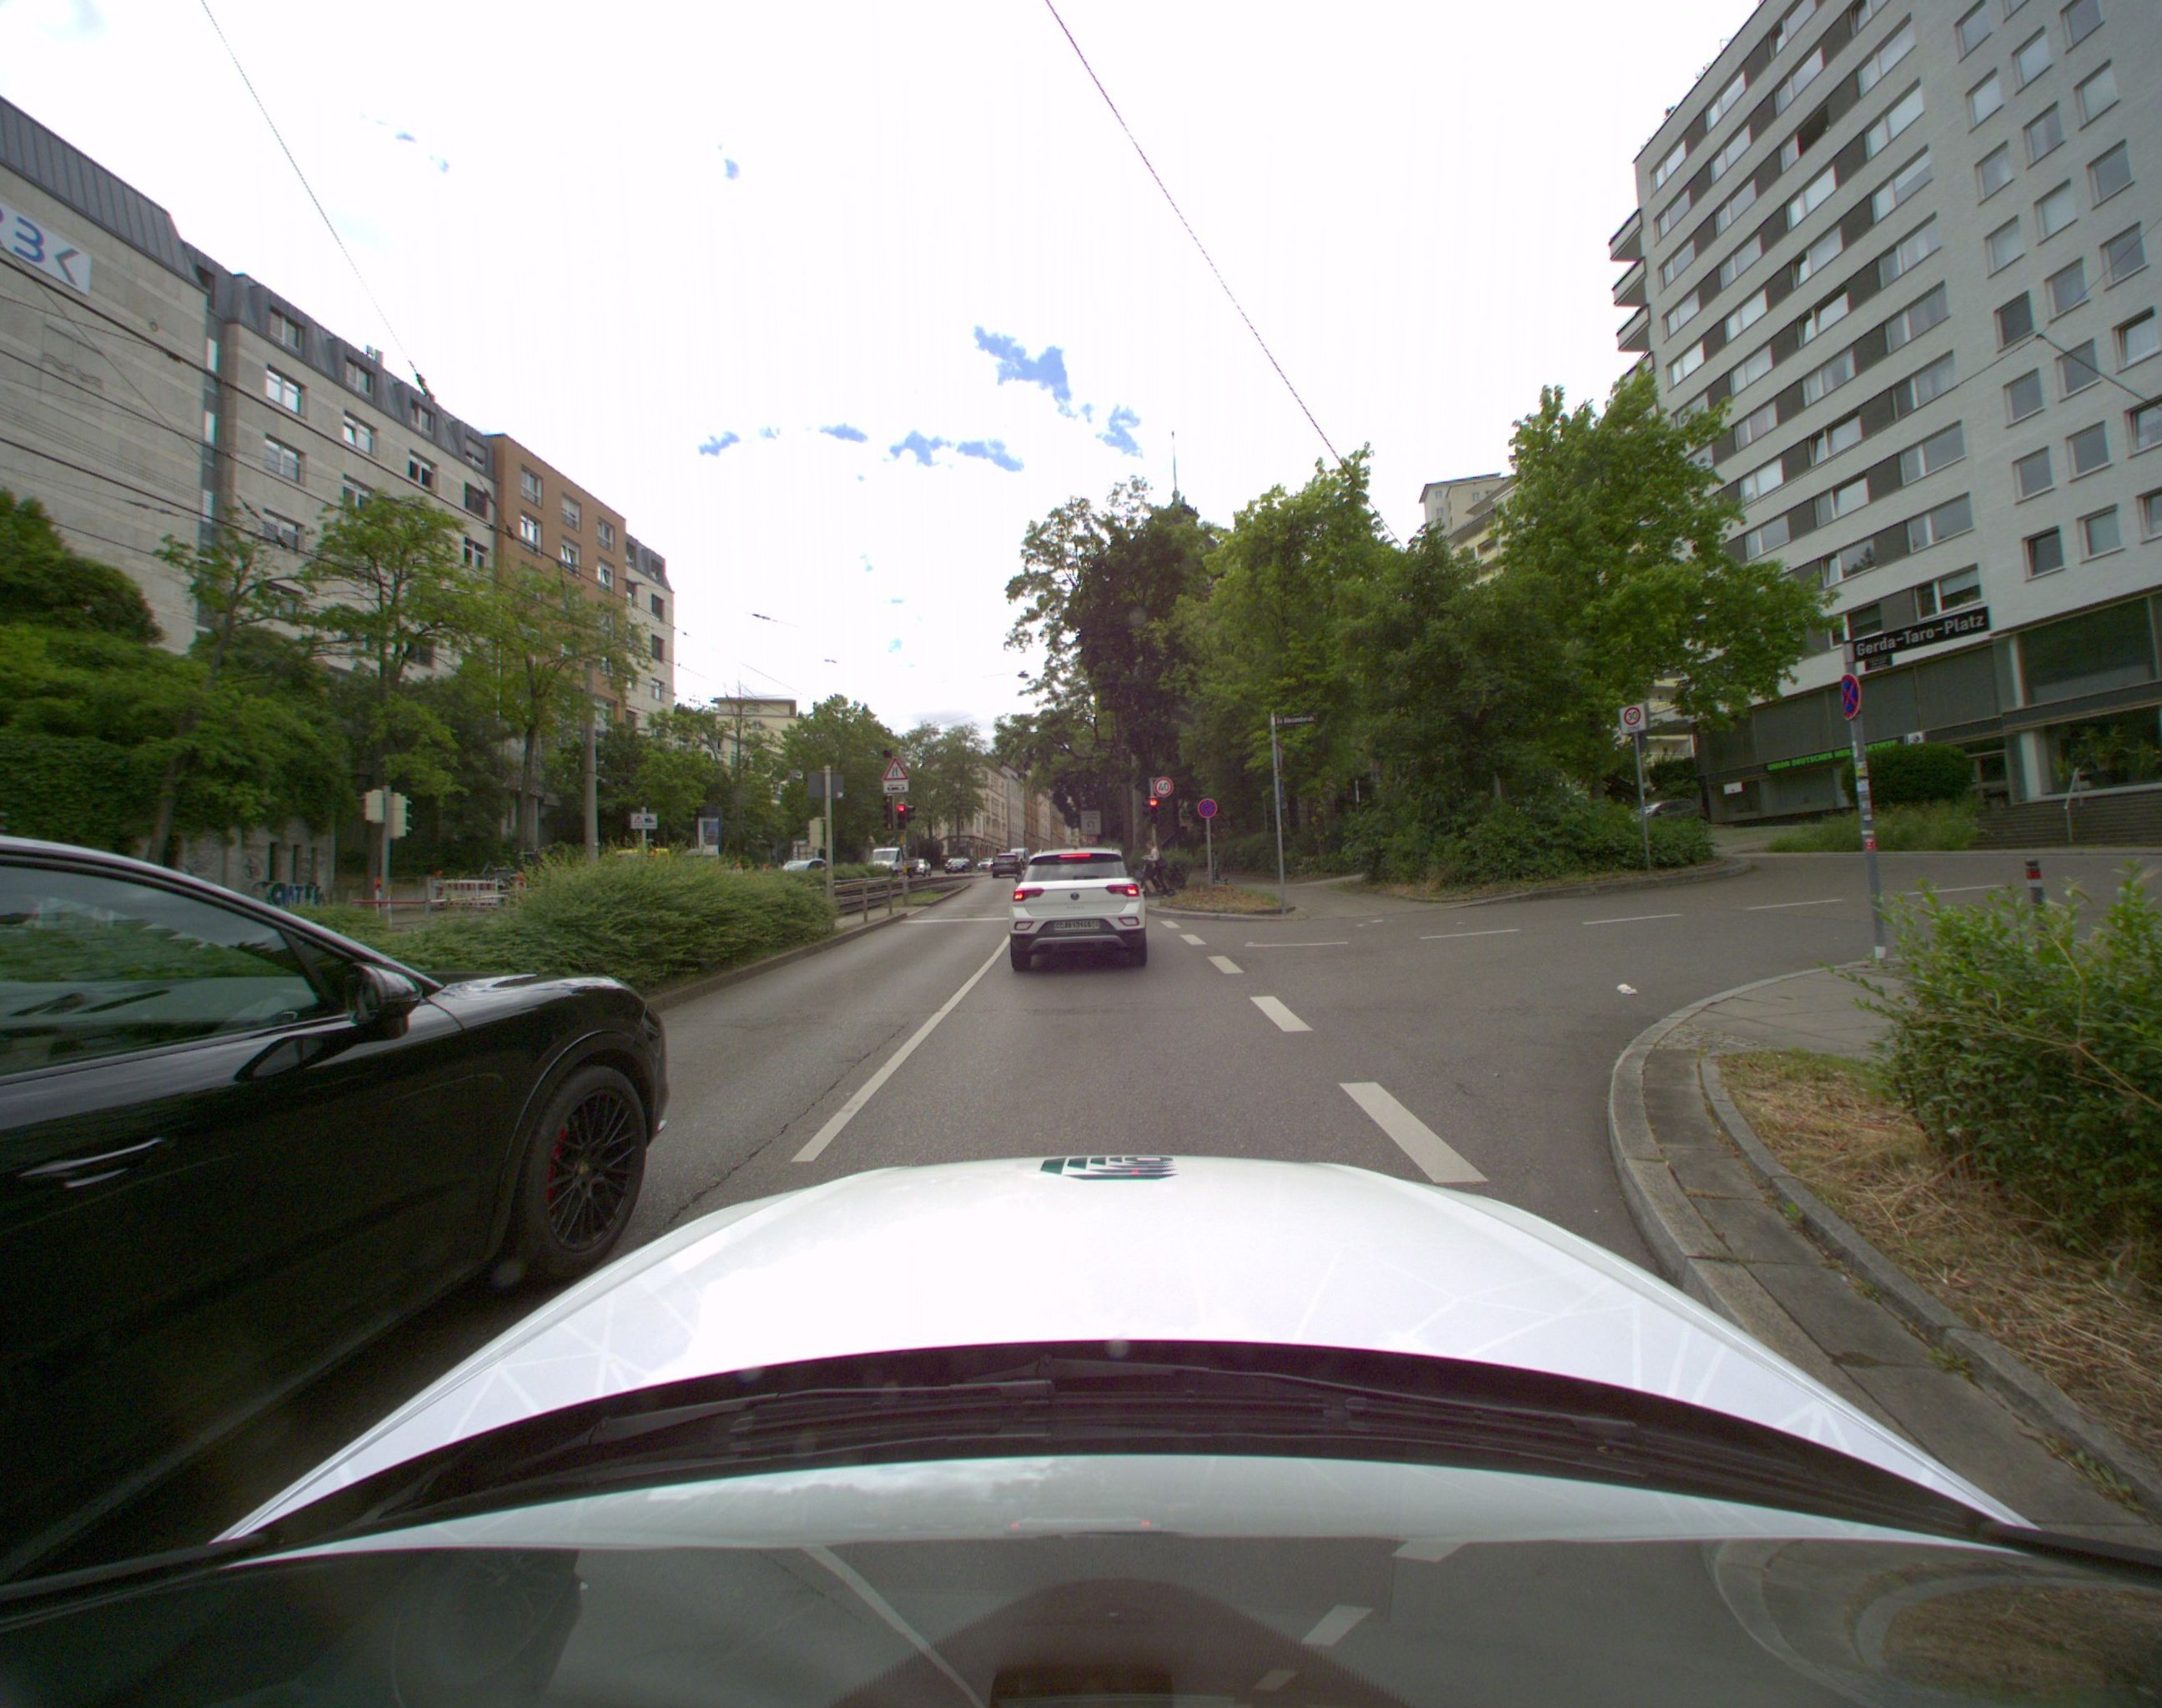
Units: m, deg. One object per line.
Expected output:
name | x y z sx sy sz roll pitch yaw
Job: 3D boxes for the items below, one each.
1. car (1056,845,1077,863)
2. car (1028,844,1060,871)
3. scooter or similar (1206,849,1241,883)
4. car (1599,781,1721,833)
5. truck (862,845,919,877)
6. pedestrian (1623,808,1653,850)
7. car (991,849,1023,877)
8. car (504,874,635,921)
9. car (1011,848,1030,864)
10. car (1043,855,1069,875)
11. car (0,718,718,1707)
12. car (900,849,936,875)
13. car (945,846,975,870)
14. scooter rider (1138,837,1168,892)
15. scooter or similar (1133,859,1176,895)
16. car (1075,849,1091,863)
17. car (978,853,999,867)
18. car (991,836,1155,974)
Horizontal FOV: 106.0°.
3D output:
car | -1.835 0.014 108.148 2.413 2.169 6.035 -3 0 1
car | -2.359 0.249 53.194 1.897 1.574 3.832 1 -2 -1
scooter or similar | 4.714 0.400 26.947 0.475 1.099 1.359 -3 0 -20
car | 25.733 -2.057 36.264 4.125 2.013 1.996 -3 0 -6
truck | -13.372 0.537 57.616 2.413 2.170 6.034 0 -1 1
pedestrian | 20.241 -0.912 29.607 0.560 1.499 0.672 -3 0 -25
car | -5.105 0.577 56.671 1.833 1.739 4.000 -3 1 0
car | -16.140 1.322 25.961 1.736 1.323 4.062 -2 -1 -2
car | -7.969 0.250 106.884 1.986 2.013 4.001 -3 0 1
car | -2.171 0.999 72.042 1.986 1.623 4.000 0 -2 1
car | -2.791 0.648 1.531 2.021 1.685 4.780 -2 -2 0
car | -13.429 0.706 67.420 1.986 2.014 4.001 0 -2 2
car | -11.158 0.392 75.298 1.986 2.014 4.000 0 -2 1
scooter rider | 2.147 0.309 24.160 0.773 1.558 0.533 -3 0 8
scooter or similar | 2.183 0.680 24.153 1.181 0.994 0.532 -3 0 7
car | 0.393 0.336 133.208 2.413 2.169 6.035 -3 0 1
car | -11.200 0.730 98.608 1.986 1.623 4.000 0 -2 1
car | -0.044 0.573 11.842 1.931 1.566 4.048 -2 2 1
